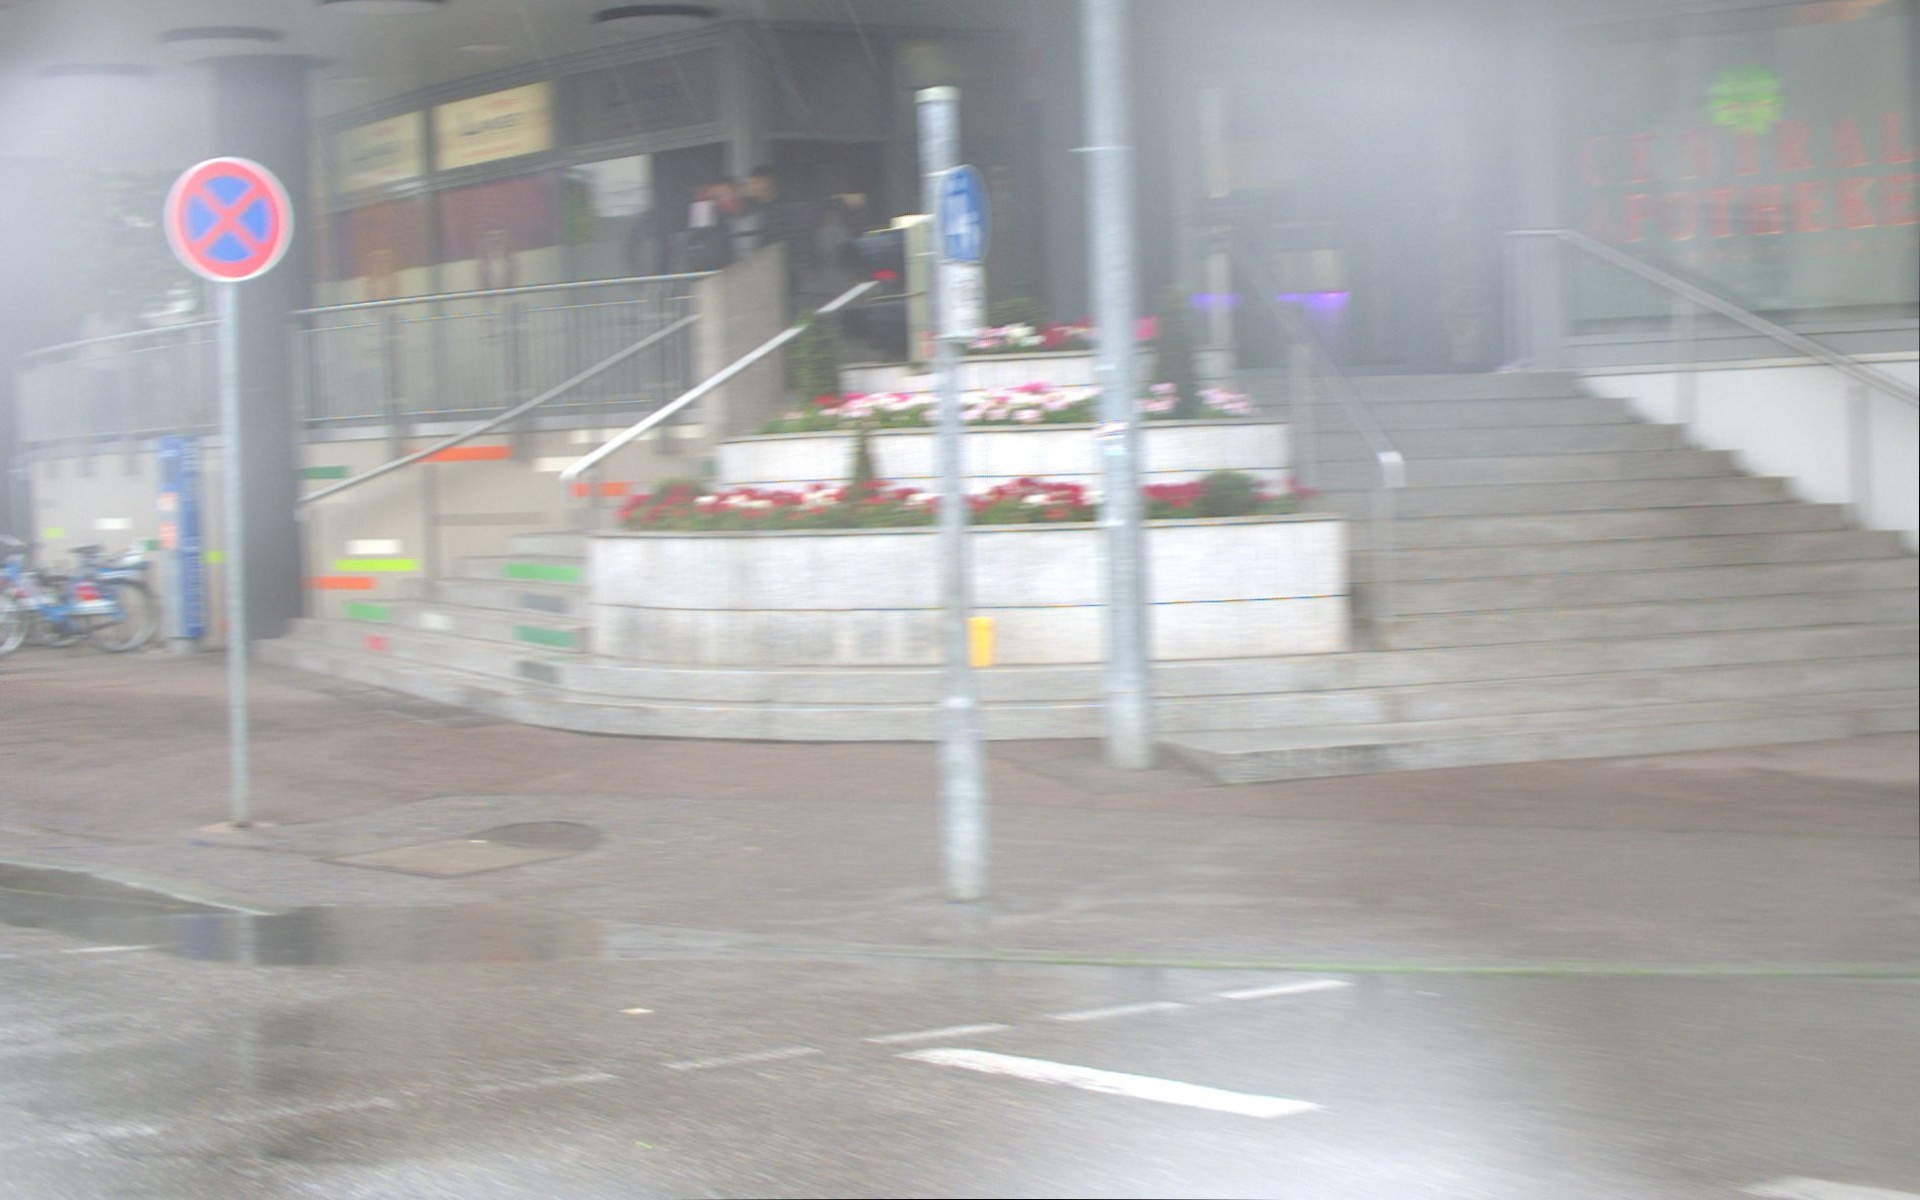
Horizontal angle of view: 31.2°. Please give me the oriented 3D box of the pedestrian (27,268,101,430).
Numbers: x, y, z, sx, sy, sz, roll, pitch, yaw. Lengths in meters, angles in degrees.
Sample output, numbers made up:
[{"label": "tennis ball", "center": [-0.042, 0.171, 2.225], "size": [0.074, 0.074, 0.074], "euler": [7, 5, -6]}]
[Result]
[{"label": "pedestrian", "center": [-9.579, -2.673, 36.761], "size": [0.652, 1.707, 0.600], "euler": [-1, 3, -24]}]

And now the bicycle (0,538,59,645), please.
[{"label": "bicycle", "center": [-9.488, -0.029, 32.305], "size": [1.849, 0.948, 0.536], "euler": [-5, 4, -26]}]

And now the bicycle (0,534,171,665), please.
[{"label": "bicycle", "center": [-7.836, 0.003, 29.638], "size": [1.849, 1.019, 0.632], "euler": [-5, 3, -29]}]

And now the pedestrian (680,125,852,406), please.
[{"label": "pedestrian", "center": [-1.431, -2.437, 25.331], "size": [0.949, 2.006, 0.832], "euler": [-2, 4, -38]}]

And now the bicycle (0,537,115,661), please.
[{"label": "bicycle", "center": [-8.680, 0.018, 31.085], "size": [1.849, 1.039, 0.647], "euler": [-6, 3, -29]}]

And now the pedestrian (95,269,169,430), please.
[{"label": "pedestrian", "center": [-8.901, -2.686, 36.972], "size": [0.652, 1.707, 0.600], "euler": [-1, 3, -24]}]

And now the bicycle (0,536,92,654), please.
[{"label": "bicycle", "center": [-9.059, -0.010, 31.743], "size": [1.849, 1.029, 0.629], "euler": [-6, 3, -29]}]
